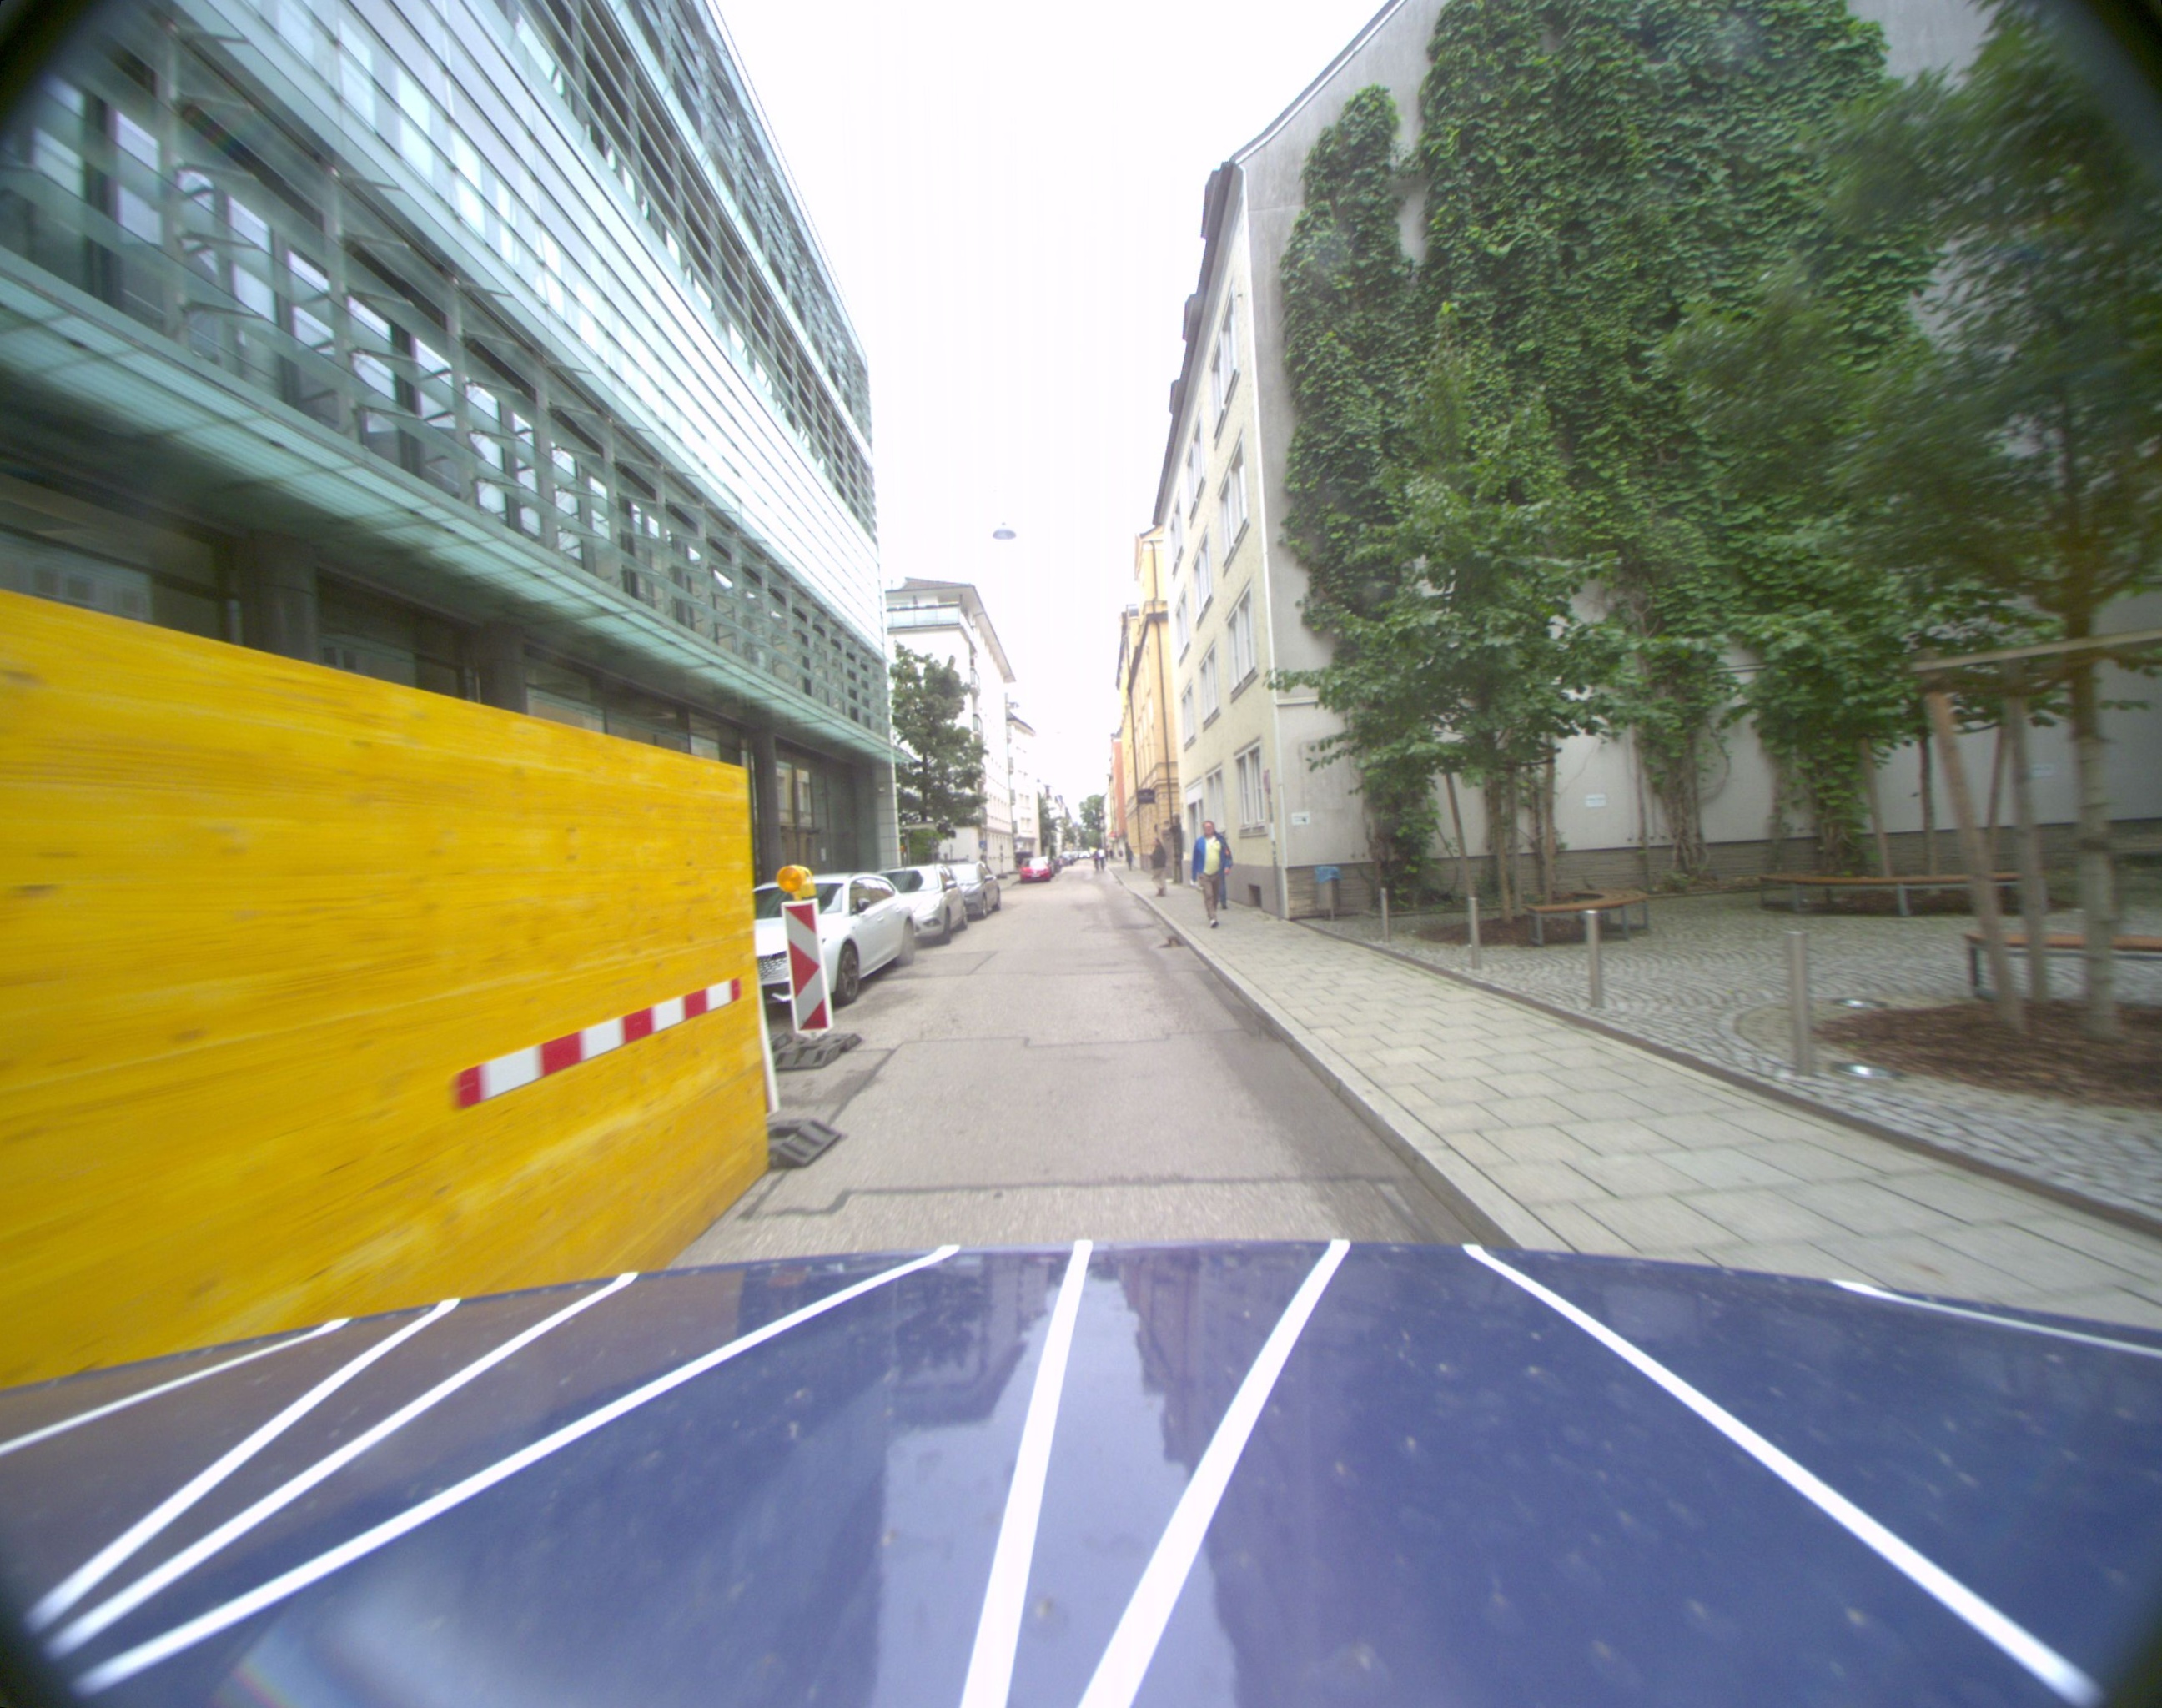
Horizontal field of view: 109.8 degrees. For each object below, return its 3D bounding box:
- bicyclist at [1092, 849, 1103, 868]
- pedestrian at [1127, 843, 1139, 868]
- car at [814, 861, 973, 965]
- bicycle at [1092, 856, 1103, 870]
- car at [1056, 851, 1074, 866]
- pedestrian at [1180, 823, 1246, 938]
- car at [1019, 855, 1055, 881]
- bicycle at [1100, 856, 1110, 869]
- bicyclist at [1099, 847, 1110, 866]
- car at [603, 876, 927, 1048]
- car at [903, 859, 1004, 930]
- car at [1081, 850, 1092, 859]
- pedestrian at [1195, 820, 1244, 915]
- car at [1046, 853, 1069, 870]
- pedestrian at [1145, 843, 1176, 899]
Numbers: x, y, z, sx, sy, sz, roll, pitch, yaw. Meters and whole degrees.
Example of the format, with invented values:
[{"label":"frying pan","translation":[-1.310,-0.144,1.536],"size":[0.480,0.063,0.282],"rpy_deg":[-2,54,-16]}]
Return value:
[{"label":"bicyclist","translation":[1.239,0.328,57.490],"size":[0.700,1.399,0.768],"rpy_deg":[-4,1,0]},{"label":"pedestrian","translation":[3.592,0.115,52.589],"size":[0.700,1.696,0.768],"rpy_deg":[-4,1,1]},{"label":"car","translation":[-3.389,0.995,14.650],"size":[1.999,1.478,4.277],"rpy_deg":[-5,0,-2]},{"label":"bicycle","translation":[1.259,0.674,57.595],"size":[0.700,0.976,1.949],"rpy_deg":[-4,0,0]},{"label":"car","translation":[-1.823,0.490,85.485],"size":[1.793,1.550,4.000],"rpy_deg":[-4,0,1]},{"label":"pedestrian","translation":[2.233,0.433,13.006],"size":[0.861,1.834,0.974],"rpy_deg":[-5,1,3]},{"label":"car","translation":[-2.584,0.820,45.920],"size":[1.809,1.390,4.000],"rpy_deg":[-4,0,1]},{"label":"bicycle","translation":[1.894,0.651,59.865],"size":[0.700,0.926,1.694],"rpy_deg":[-4,0,0]},{"label":"bicyclist","translation":[1.864,0.202,59.612],"size":[0.718,1.399,0.965],"rpy_deg":[-4,1,0]},{"label":"car","translation":[-3.497,1.101,9.601],"size":[1.998,1.367,4.658],"rpy_deg":[-4,0,1]},{"label":"car","translation":[-3.180,0.956,19.834],"size":[1.877,1.477,4.278],"rpy_deg":[-4,0,-1]},{"label":"car","translation":[1.064,0.118,143.475],"size":[1.998,1.583,4.375],"rpy_deg":[-4,0,1]},{"label":"pedestrian","translation":[2.895,0.272,15.987],"size":[0.744,1.891,0.879],"rpy_deg":[-5,1,1]},{"label":"car","translation":[-1.892,0.621,62.903],"size":[1.625,1.259,4.329],"rpy_deg":[-4,0,1]},{"label":"pedestrian","translation":[2.295,0.476,21.946],"size":[0.710,1.542,0.776],"rpy_deg":[-5,1,1]}]
